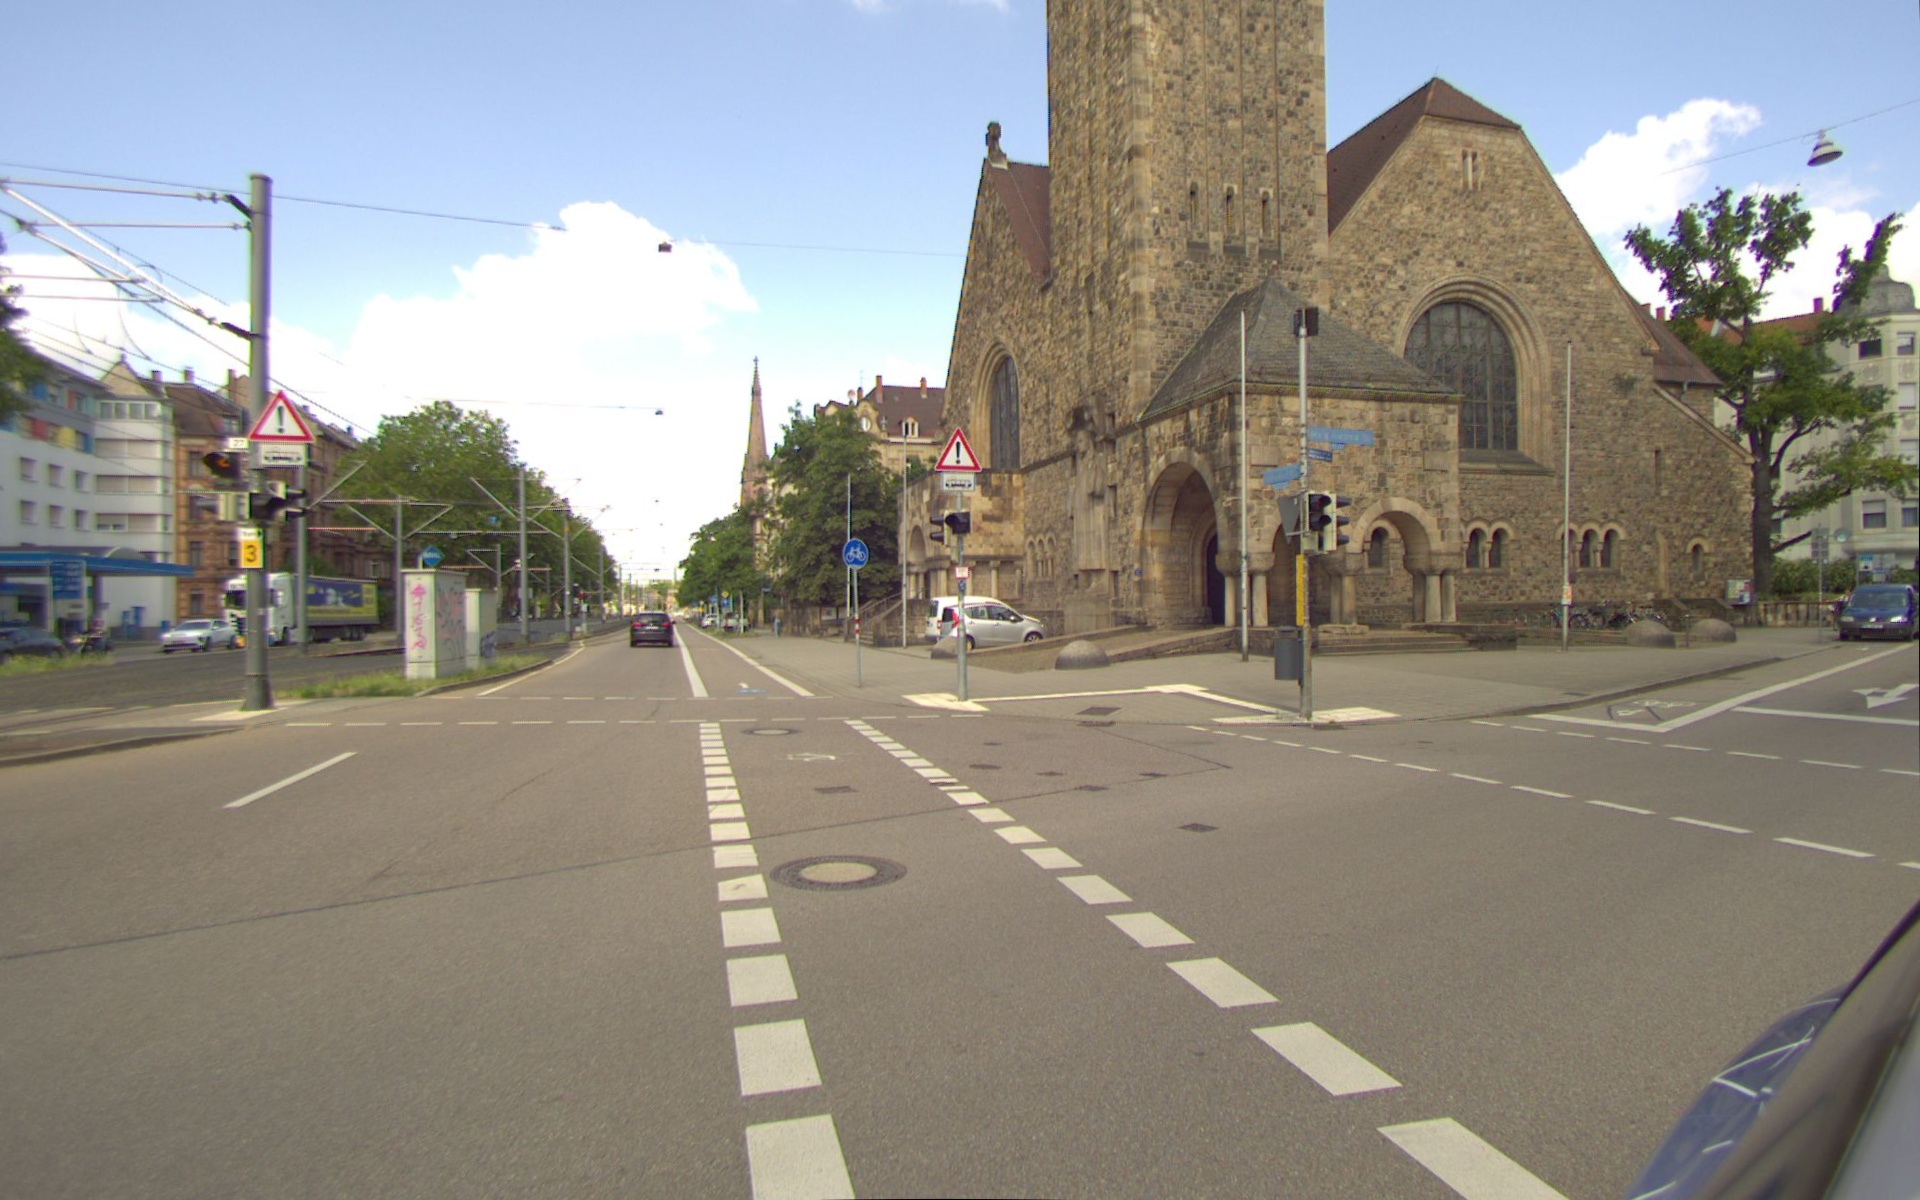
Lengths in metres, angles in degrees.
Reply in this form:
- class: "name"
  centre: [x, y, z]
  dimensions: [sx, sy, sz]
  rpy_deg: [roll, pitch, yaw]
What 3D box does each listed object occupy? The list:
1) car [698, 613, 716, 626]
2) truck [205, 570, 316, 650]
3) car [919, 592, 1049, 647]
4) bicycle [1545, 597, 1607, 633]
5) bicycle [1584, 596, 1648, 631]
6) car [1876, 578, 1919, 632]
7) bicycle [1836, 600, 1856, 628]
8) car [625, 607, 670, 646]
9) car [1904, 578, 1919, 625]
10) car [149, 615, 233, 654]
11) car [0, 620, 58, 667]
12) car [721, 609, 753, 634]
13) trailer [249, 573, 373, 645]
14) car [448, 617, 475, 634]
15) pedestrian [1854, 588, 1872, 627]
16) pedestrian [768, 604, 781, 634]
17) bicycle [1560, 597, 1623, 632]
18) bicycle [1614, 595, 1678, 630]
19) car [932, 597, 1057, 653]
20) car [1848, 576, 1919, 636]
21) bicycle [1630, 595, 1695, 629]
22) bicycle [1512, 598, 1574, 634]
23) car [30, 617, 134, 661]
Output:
- class: "car"
  centre: [-24.845, 1.894, 99.437]
  dimensions: [1.621, 1.249, 3.069]
  rpy_deg: [-1, -1, -16]
- class: "truck"
  centre: [-39.287, 0.516, 57.120]
  dimensions: [2.857, 4.202, 6.603]
  rpy_deg: [-1, 0, -13]
- class: "car"
  centre: [0.818, 0.716, 35.921]
  dimensions: [4.214, 1.878, 2.003]
  rpy_deg: [0, -2, -16]
- class: "bicycle"
  centre: [21.556, 0.510, 35.461]
  dimensions: [0.574, 1.126, 1.944]
  rpy_deg: [-1, 3, -19]
- class: "bicycle"
  centre: [23.196, 0.471, 35.839]
  dimensions: [0.574, 1.126, 1.944]
  rpy_deg: [-1, 3, -19]
- class: "car"
  centre: [34.086, 0.156, 36.005]
  dimensions: [3.929, 1.814, 1.682]
  rpy_deg: [-1, -1, -40]
- class: "bicycle"
  centre: [33.889, 0.524, 38.711]
  dimensions: [0.479, 1.065, 1.420]
  rpy_deg: [-2, -1, 44]
- class: "car"
  centre: [-13.251, 1.099, 42.972]
  dimensions: [1.747, 1.554, 4.394]
  rpy_deg: [0, -1, -17]
- class: "car"
  centre: [38.707, 0.051, 39.898]
  dimensions: [3.929, 1.814, 1.682]
  rpy_deg: [-1, -1, -40]
- class: "car"
  centre: [-37.487, 1.643, 49.476]
  dimensions: [1.816, 1.727, 4.142]
  rpy_deg: [-1, 0, -15]
- class: "car"
  centre: [-32.709, 1.460, 34.136]
  dimensions: [1.816, 1.465, 3.981]
  rpy_deg: [-1, 0, -15]
- class: "car"
  centre: [-14.185, 1.370, 64.367]
  dimensions: [1.752, 1.514, 3.844]
  rpy_deg: [-1, -1, -16]
- class: "trailer"
  centre: [-40.966, 0.535, 64.469]
  dimensions: [2.856, 4.129, 11.672]
  rpy_deg: [-1, 0, -13]
- class: "car"
  centre: [-51.919, 2.618, 105.399]
  dimensions: [1.766, 1.651, 4.008]
  rpy_deg: [-1, 0, -15]
- class: "pedestrian"
  centre: [34.246, 0.289, 38.391]
  dimensions: [0.465, 1.474, 0.547]
  rpy_deg: [-2, -1, 45]
- class: "pedestrian"
  centre: [-10.495, 1.074, 57.124]
  dimensions: [0.645, 1.686, 0.847]
  rpy_deg: [-1, -1, -14]
- class: "bicycle"
  centre: [22.224, 0.494, 35.676]
  dimensions: [0.574, 1.126, 1.944]
  rpy_deg: [-1, 3, -19]
- class: "bicycle"
  centre: [24.623, 0.436, 36.377]
  dimensions: [0.574, 1.126, 1.944]
  rpy_deg: [-1, 3, -19]
- class: "car"
  centre: [1.088, 0.821, 32.405]
  dimensions: [3.561, 1.700, 1.822]
  rpy_deg: [1, -3, -19]
- class: "car"
  centre: [30.165, 0.182, 32.635]
  dimensions: [4.072, 1.814, 1.682]
  rpy_deg: [-1, -1, -40]
- class: "bicycle"
  centre: [25.381, 0.418, 36.589]
  dimensions: [0.574, 1.126, 1.944]
  rpy_deg: [-1, 3, -19]
- class: "bicycle"
  centre: [20.105, 0.545, 34.936]
  dimensions: [0.574, 1.126, 1.944]
  rpy_deg: [-1, 3, -19]
- class: "car"
  centre: [-34.577, 1.494, 39.971]
  dimensions: [1.651, 1.583, 3.760]
  rpy_deg: [-1, 0, -15]
